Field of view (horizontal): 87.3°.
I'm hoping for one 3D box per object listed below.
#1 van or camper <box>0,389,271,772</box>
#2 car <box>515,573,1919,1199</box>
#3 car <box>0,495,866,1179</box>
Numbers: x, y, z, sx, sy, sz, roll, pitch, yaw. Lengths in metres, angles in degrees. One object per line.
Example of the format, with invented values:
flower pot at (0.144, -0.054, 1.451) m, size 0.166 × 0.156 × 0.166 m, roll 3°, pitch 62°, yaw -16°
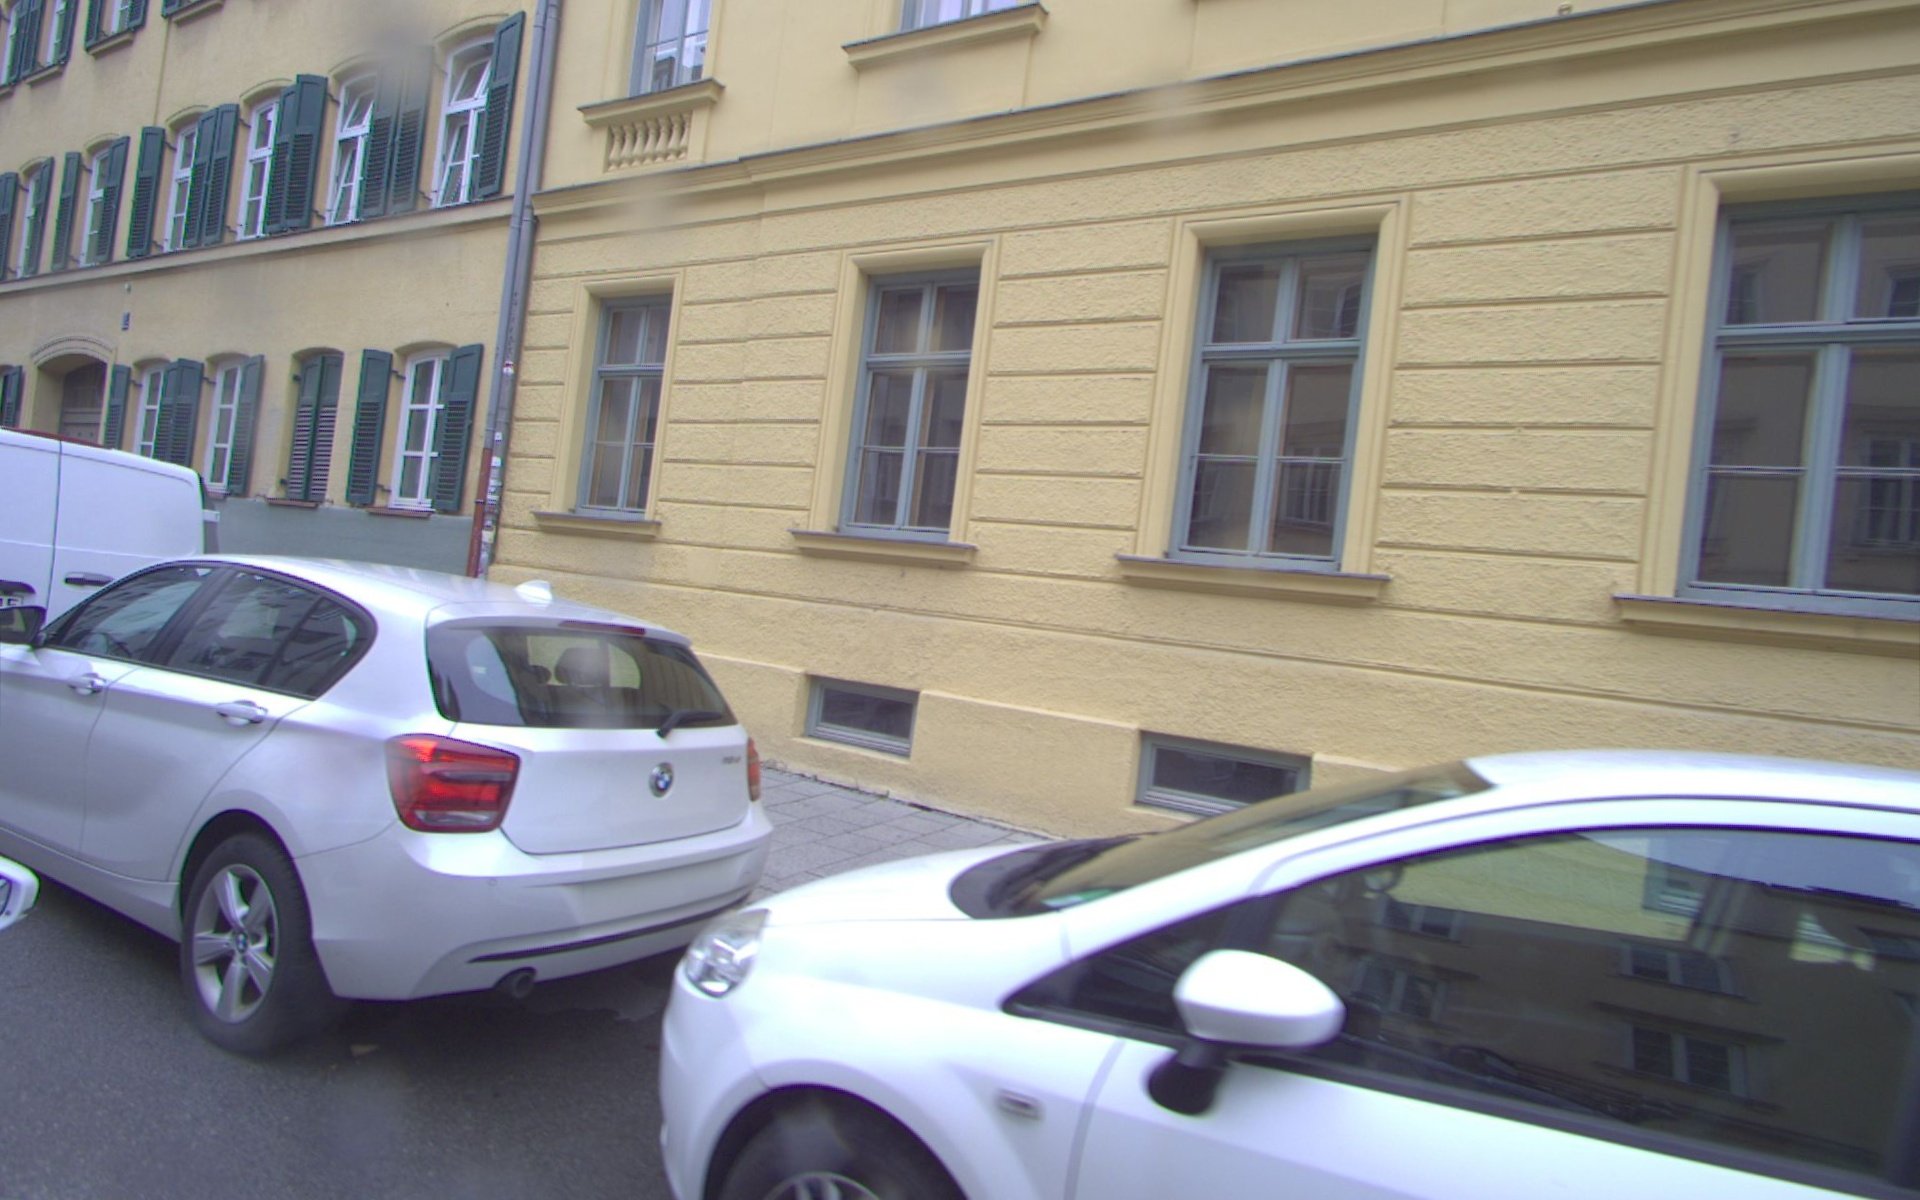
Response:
van or camper at (-7.232, -0.340, 6.808) m, size 5.143 × 2.037 × 1.998 m, roll 7°, pitch -1°, yaw 29°
car at (1.113, 0.963, 1.943) m, size 3.697 × 1.528 × 1.627 m, roll 7°, pitch -1°, yaw 29°
car at (-2.864, 0.491, 4.321) m, size 4.508 × 1.528 × 1.820 m, roll 7°, pitch -1°, yaw 28°
